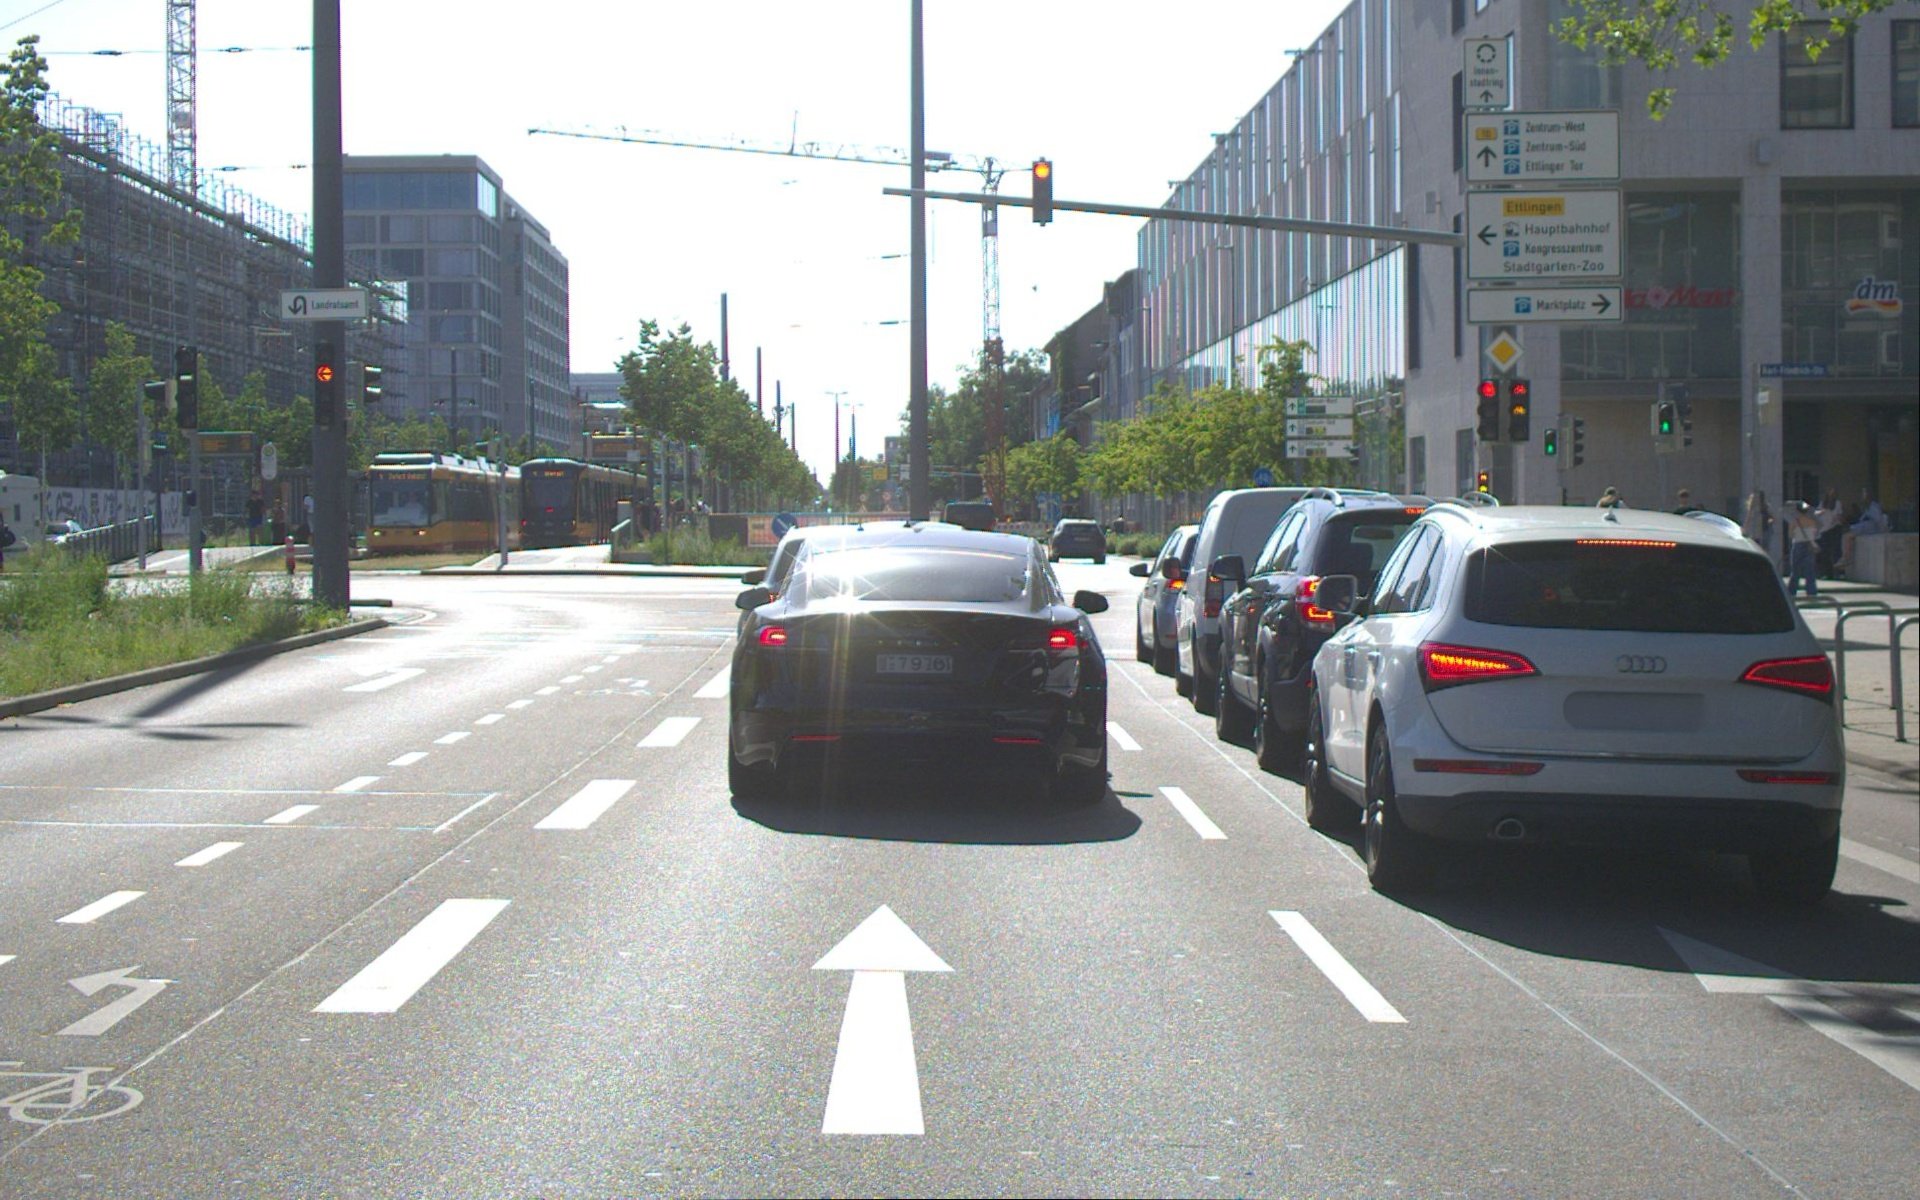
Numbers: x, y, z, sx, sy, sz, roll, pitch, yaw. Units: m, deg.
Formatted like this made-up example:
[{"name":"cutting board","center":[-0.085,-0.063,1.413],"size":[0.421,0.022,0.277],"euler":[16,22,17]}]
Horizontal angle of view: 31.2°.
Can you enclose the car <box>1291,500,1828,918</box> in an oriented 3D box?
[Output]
[{"name":"car","center":[2.520,0.361,15.415],"size":[1.721,1.612,4.186],"euler":[0,2,1]}]

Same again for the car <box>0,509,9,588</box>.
[{"name":"car","center":[-14.898,-0.774,49.830],"size":[1.376,1.174,3.221],"euler":[2,1,-1]}]

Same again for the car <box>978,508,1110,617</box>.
[{"name":"car","center":[1.128,-0.554,48.005],"size":[1.721,1.426,4.187],"euler":[0,2,0]}]

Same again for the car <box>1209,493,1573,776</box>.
[{"name":"car","center":[2.660,0.140,22.105],"size":[1.721,1.647,4.187],"euler":[0,2,-1]}]

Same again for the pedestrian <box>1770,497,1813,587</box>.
[{"name":"pedestrian","center":[13.460,-0.933,55.648],"size":[0.562,1.435,0.631],"euler":[2,0,6]}]

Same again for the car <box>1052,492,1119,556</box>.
[{"name":"car","center":[4.174,-2.518,114.636],"size":[1.993,2.007,4.000],"euler":[2,1,-1]}]

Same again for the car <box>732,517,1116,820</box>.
[{"name":"car","center":[-0.235,0.294,19.121],"size":[1.912,1.481,4.010],"euler":[0,2,-2]}]

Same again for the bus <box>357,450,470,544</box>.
[{"name":"bus","center":[-17.388,-3.238,109.791],"size":[2.627,2.773,8.846],"euler":[2,1,-3]}]

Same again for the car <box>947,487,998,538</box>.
[{"name":"car","center":[0.522,-3.609,143.049],"size":[1.993,2.007,4.000],"euler":[2,1,-1]}]

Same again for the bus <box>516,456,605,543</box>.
[{"name":"bus","center":[-14.661,-3.645,126.734],"size":[2.627,2.949,9.900],"euler":[2,1,-3]}]

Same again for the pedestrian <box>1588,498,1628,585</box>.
[{"name":"pedestrian","center":[10.846,-0.978,57.545],"size":[0.562,1.435,0.631],"euler":[2,0,6]}]

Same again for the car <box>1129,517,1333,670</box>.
[{"name":"car","center":[2.699,-0.112,34.985],"size":[1.721,1.426,4.187],"euler":[0,2,0]}]

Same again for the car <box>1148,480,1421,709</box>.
[{"name":"car","center":[2.636,-0.105,28.767],"size":[1.721,1.776,4.187],"euler":[0,2,-2]}]
